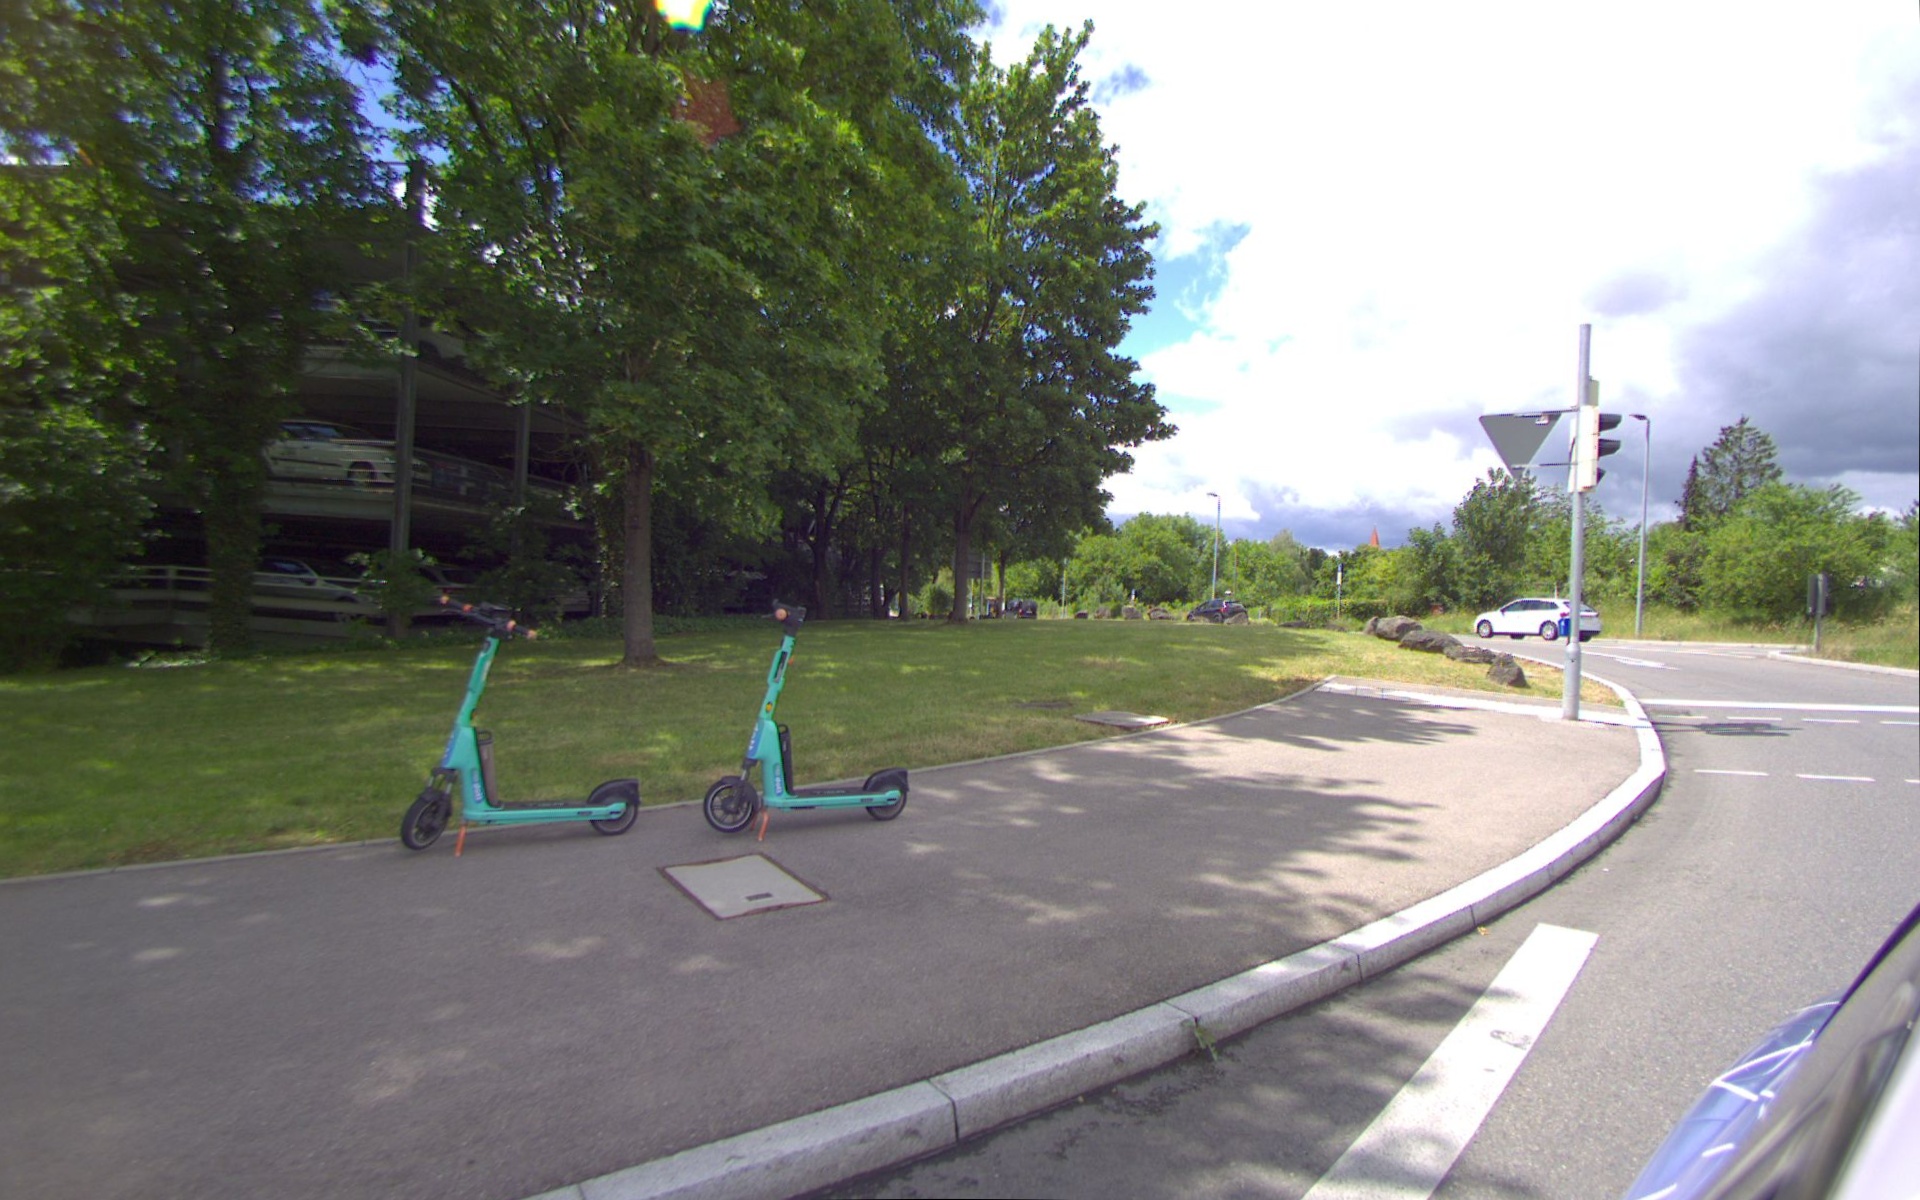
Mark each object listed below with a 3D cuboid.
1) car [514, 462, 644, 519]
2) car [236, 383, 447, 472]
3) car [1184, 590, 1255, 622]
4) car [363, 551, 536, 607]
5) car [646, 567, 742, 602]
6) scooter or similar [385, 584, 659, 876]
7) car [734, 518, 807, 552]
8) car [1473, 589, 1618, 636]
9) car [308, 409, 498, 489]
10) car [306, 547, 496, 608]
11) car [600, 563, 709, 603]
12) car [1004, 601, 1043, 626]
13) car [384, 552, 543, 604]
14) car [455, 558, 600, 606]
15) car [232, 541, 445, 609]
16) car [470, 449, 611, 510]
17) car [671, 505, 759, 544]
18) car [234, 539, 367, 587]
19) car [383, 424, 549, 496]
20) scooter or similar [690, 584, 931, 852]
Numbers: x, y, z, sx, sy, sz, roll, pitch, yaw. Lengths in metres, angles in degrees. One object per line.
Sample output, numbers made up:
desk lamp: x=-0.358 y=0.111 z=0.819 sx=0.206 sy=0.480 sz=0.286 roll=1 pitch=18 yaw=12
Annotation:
car: x=-12.783 y=-3.680 z=34.054 sx=3.641 sy=1.562 sz=1.723 roll=2 pitch=-2 yaw=7
car: x=-13.615 y=-3.785 z=22.377 sx=3.641 sy=1.562 sz=1.723 roll=2 pitch=-2 yaw=7
car: x=13.864 y=0.297 z=54.287 sx=1.753 sy=1.598 sz=4.173 roll=2 pitch=0 yaw=-18
car: x=-13.573 y=-0.542 z=27.001 sx=3.733 sy=1.309 sz=1.773 roll=2 pitch=0 yaw=6
car: x=-11.932 y=-0.684 z=45.487 sx=3.791 sy=1.410 sz=1.773 roll=2 pitch=0 yaw=6
scooter or similar: x=-2.169 y=0.570 z=5.051 sx=1.168 sy=1.279 sz=0.534 roll=-1 pitch=2 yaw=-37
car: x=-10.550 y=-3.618 z=56.407 sx=3.641 sy=1.583 sz=1.655 roll=2 pitch=-2 yaw=7
car: x=20.308 y=0.397 z=35.325 sx=1.588 sy=1.488 sz=4.387 roll=-1 pitch=1 yaw=-20
car: x=-13.410 y=-3.631 z=24.483 sx=3.641 sy=1.562 sz=1.723 roll=2 pitch=-2 yaw=7
car: x=-13.695 y=-0.531 z=24.896 sx=3.733 sy=1.309 sz=1.773 roll=2 pitch=0 yaw=6
car: x=-12.207 y=-0.673 z=40.544 sx=3.733 sy=1.410 sz=1.773 roll=2 pitch=0 yaw=6
car: x=5.117 y=1.136 z=82.380 sx=1.753 sy=1.802 sz=4.818 roll=1 pitch=-4 yaw=-14
car: x=-14.300 y=-0.620 z=29.231 sx=3.733 sy=1.309 sz=1.773 roll=2 pitch=0 yaw=6
car: x=-13.377 y=-0.549 z=31.396 sx=3.733 sy=1.309 sz=1.773 roll=2 pitch=0 yaw=6
car: x=-13.852 y=-0.543 z=22.667 sx=3.733 sy=1.309 sz=1.773 roll=2 pitch=0 yaw=6
car: x=-13.093 y=-3.747 z=31.688 sx=3.641 sy=1.562 sz=1.723 roll=2 pitch=-2 yaw=7
car: x=-11.513 y=-3.543 z=47.687 sx=3.641 sy=1.562 sz=1.723 roll=2 pitch=-2 yaw=7
car: x=-23.310 y=-1.293 z=35.823 sx=3.719 sy=1.388 sz=1.591 roll=4 pitch=0 yaw=7
car: x=-13.331 y=-3.765 z=27.411 sx=3.641 sy=1.562 sz=1.723 roll=2 pitch=-2 yaw=7
scooter or similar: x=-0.795 y=0.566 z=5.473 sx=1.168 sy=1.279 sz=0.534 roll=-1 pitch=2 yaw=-37
